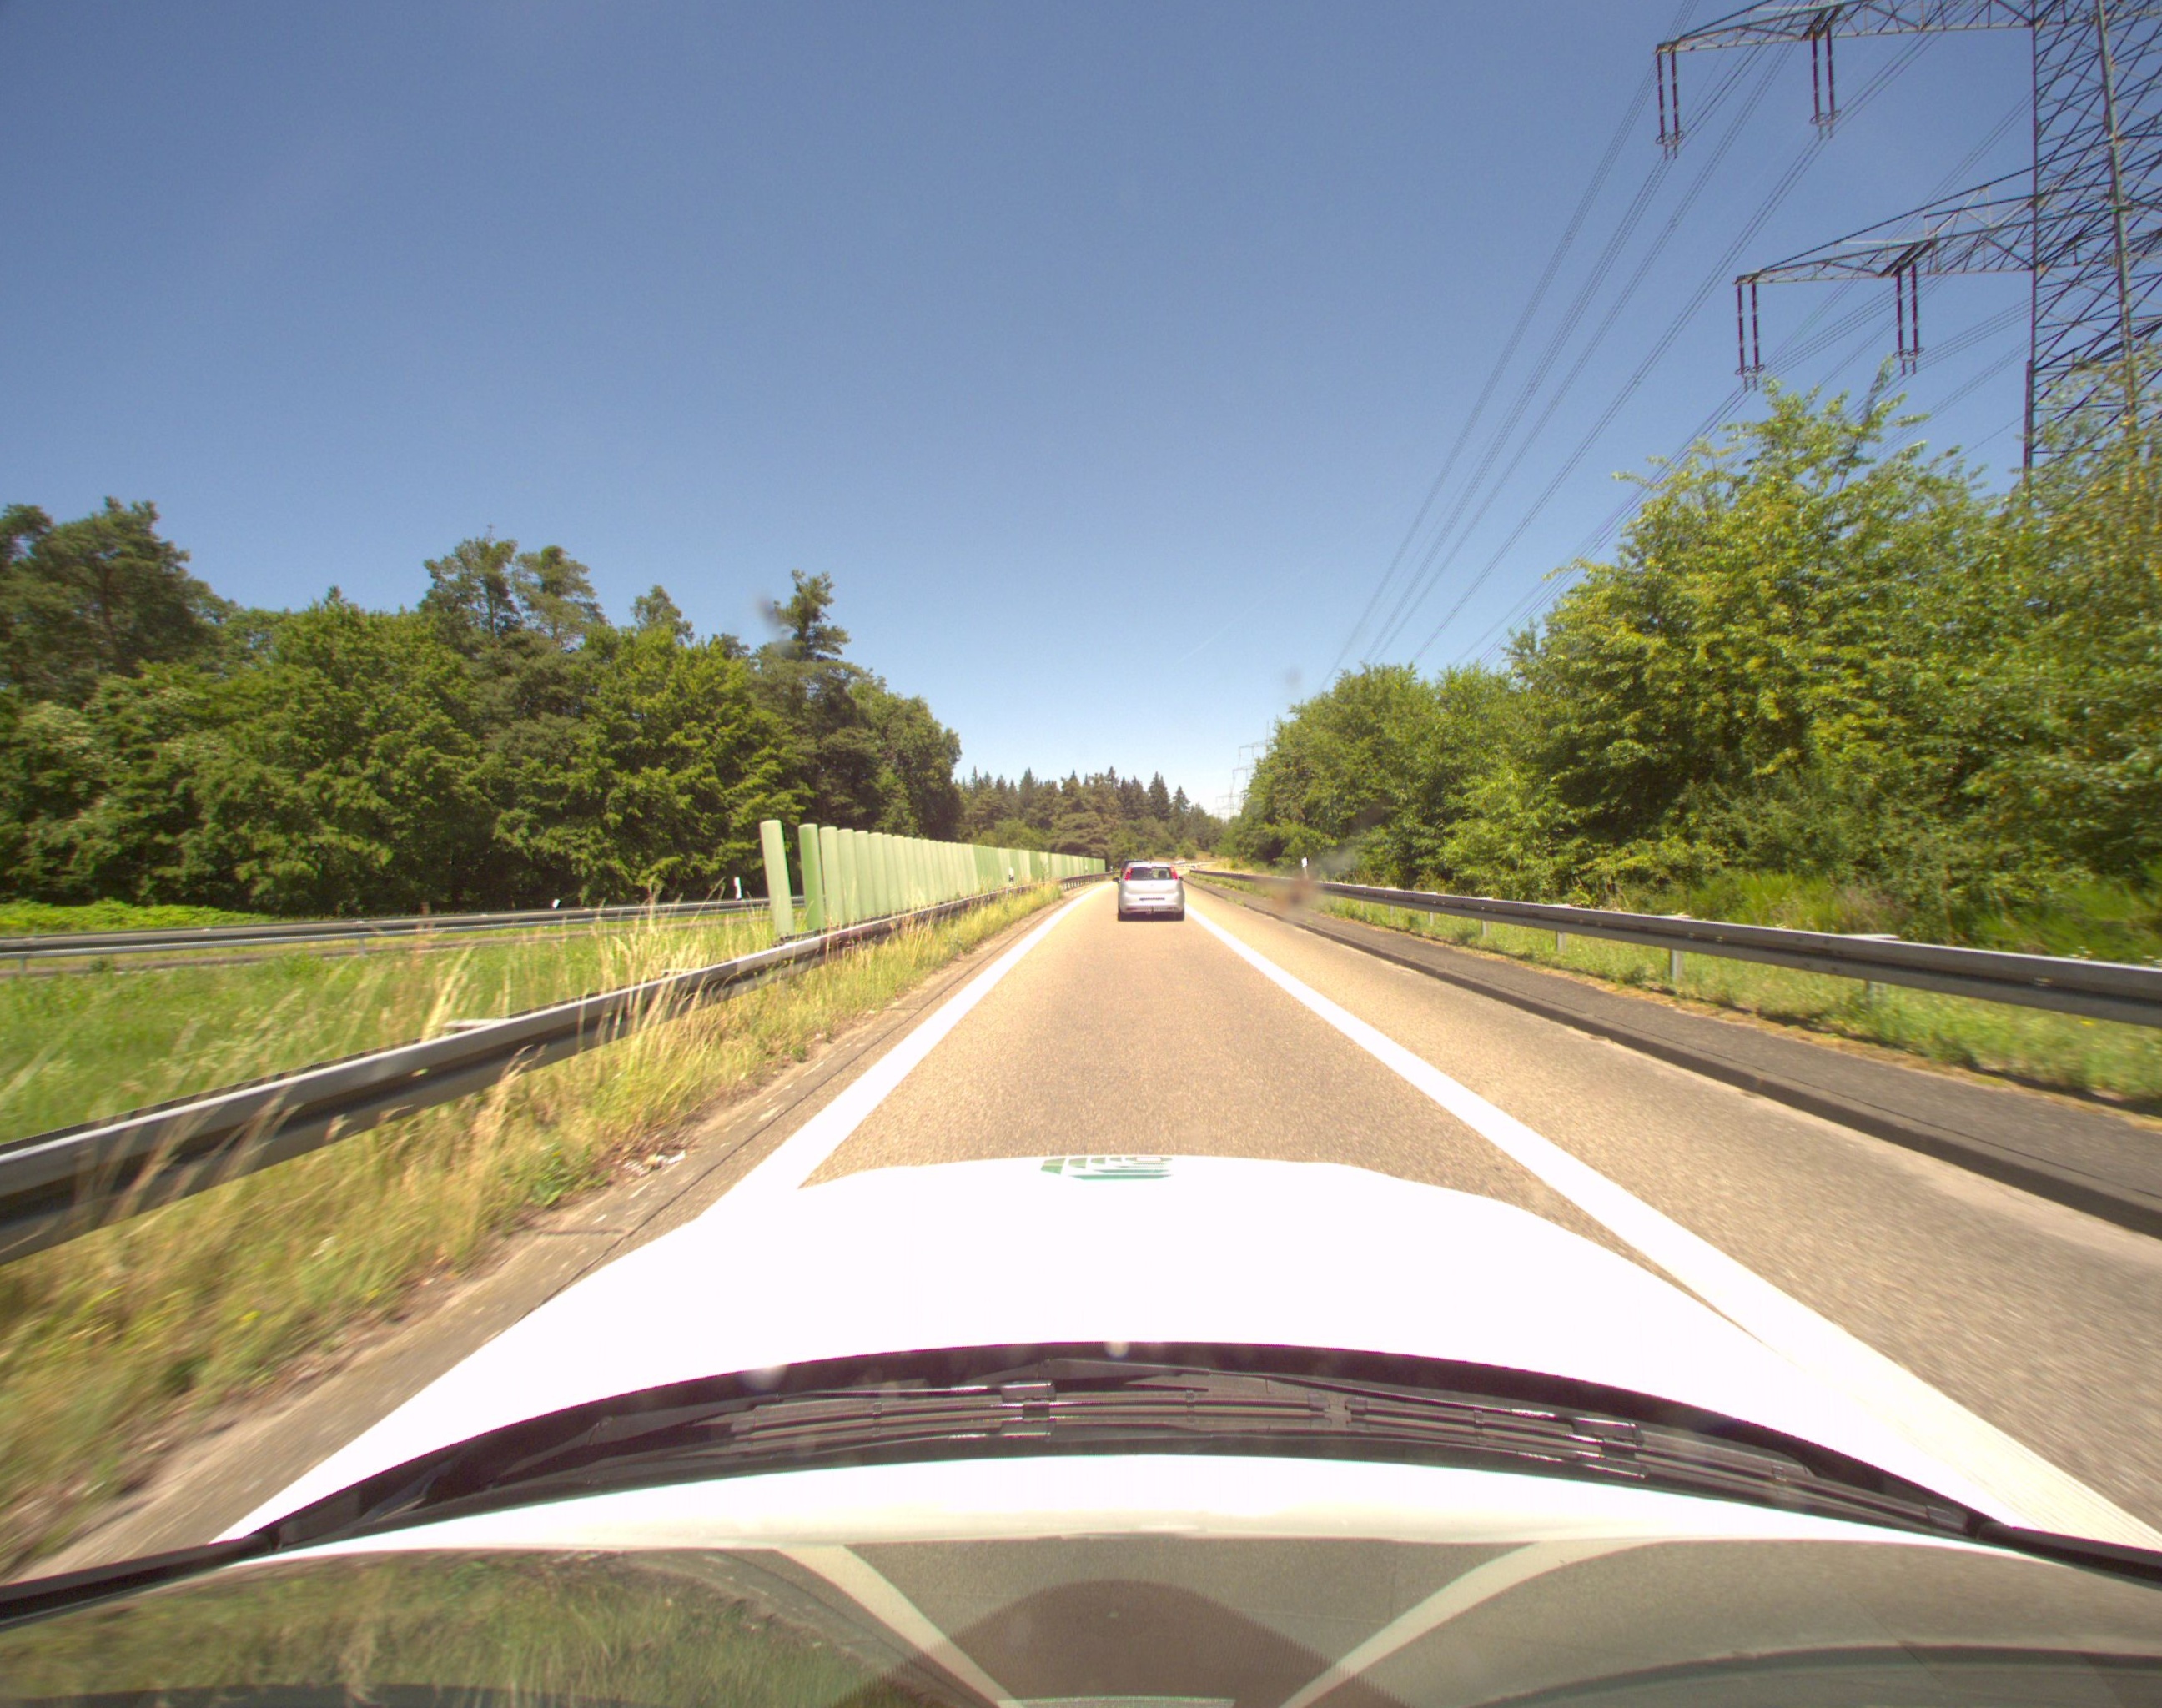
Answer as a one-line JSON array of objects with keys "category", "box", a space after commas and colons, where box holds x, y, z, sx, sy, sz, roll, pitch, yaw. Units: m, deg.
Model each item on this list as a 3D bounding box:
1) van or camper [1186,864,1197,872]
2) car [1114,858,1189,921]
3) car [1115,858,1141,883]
[{"category": "van or camper", "box": [23.757, 3.034, 175.067, 1.794, 1.486, 4.015, -2, 0, 14]}, {"category": "car", "box": [1.924, 0.871, 21.379, 1.696, 1.482, 3.406, -1, 0, 9]}, {"category": "car", "box": [3.284, 1.128, 56.325, 1.698, 1.676, 3.402, -1, 0, 4]}]
